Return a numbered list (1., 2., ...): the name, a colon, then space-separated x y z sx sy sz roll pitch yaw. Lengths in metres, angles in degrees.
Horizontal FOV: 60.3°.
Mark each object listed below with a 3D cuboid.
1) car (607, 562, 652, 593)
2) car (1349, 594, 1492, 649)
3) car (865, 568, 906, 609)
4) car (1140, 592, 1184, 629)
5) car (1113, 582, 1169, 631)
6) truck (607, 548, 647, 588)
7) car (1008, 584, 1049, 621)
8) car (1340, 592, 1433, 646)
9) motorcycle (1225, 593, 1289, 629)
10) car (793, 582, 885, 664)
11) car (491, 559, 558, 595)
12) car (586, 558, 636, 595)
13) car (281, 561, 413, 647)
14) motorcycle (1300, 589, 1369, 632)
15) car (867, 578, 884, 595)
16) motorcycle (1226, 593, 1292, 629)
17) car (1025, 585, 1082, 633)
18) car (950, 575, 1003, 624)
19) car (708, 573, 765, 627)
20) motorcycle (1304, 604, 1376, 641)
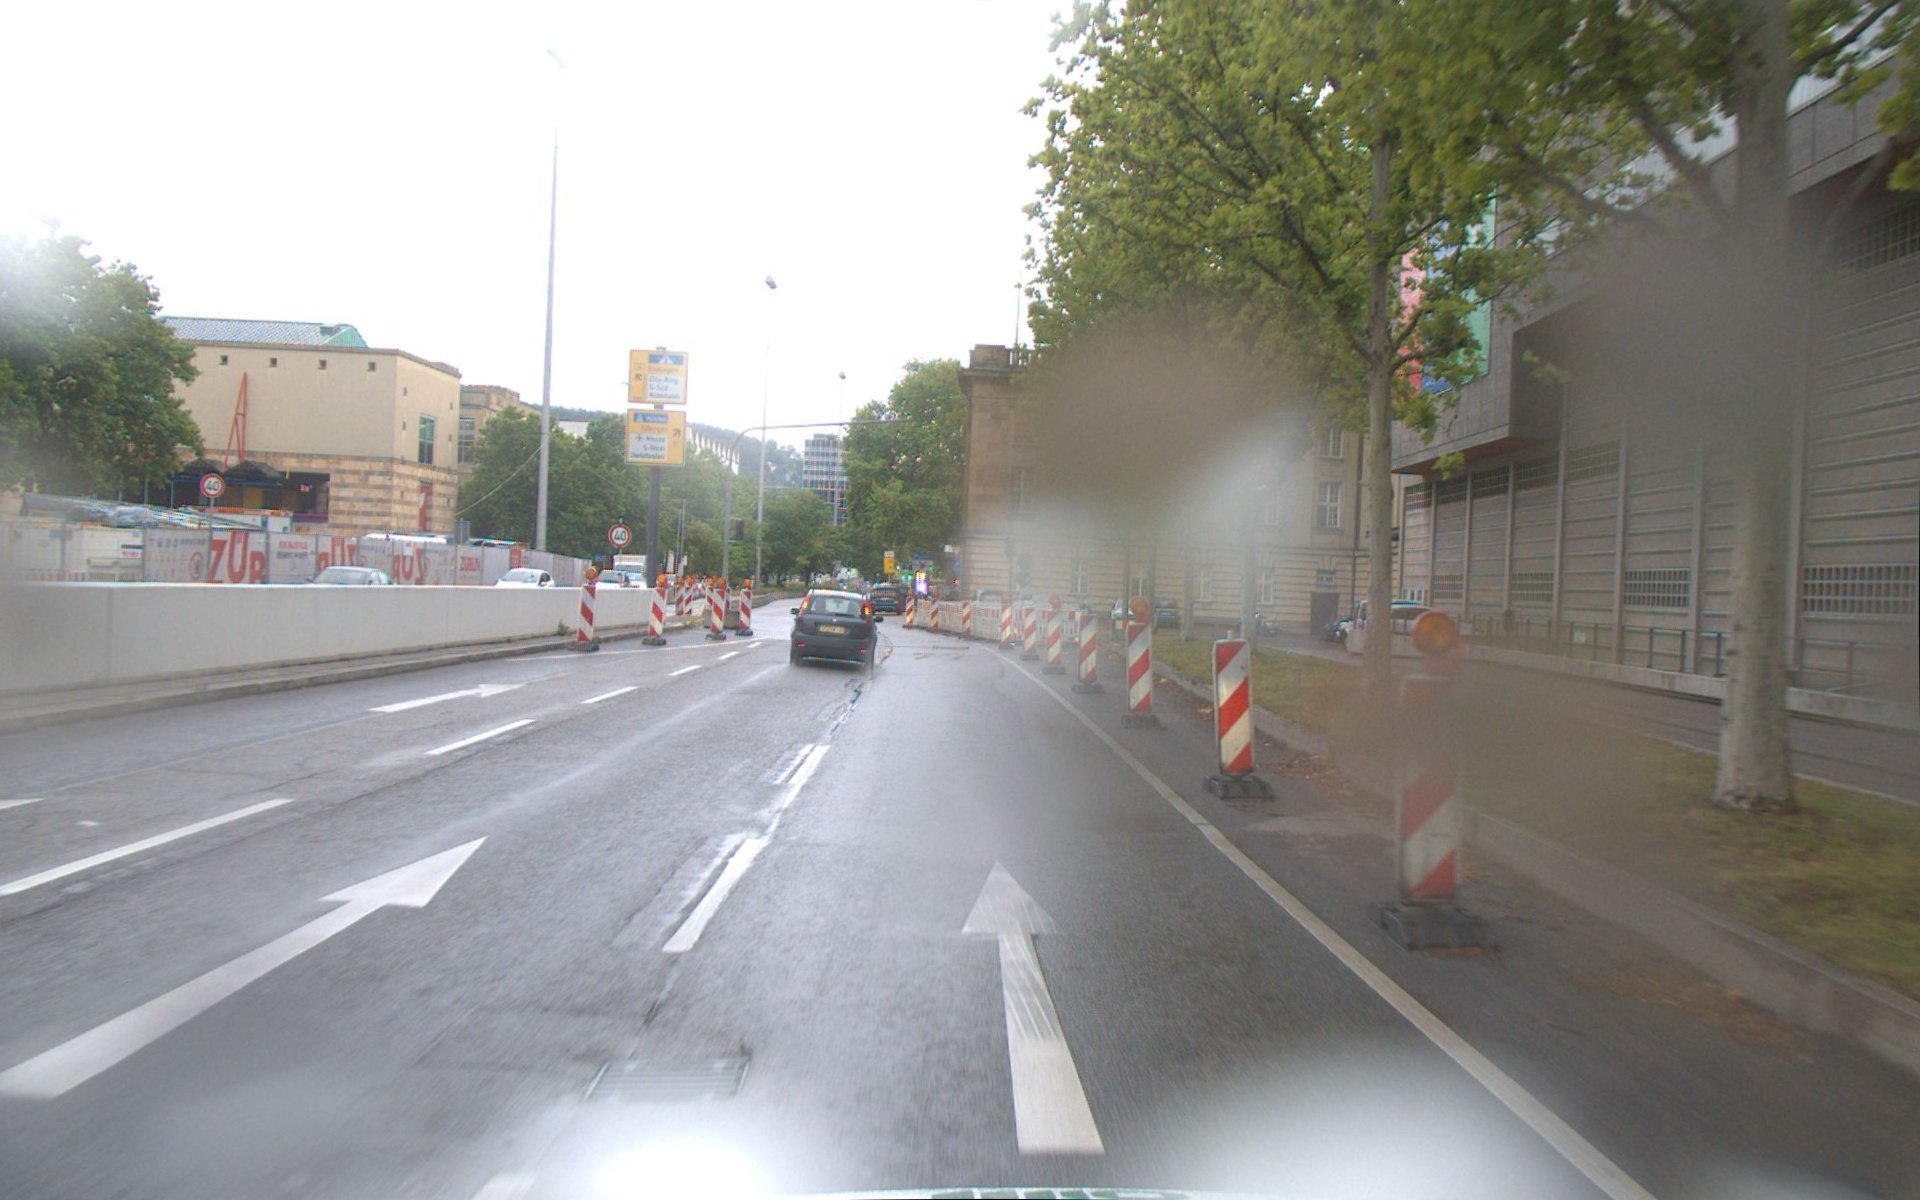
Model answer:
1. car: -18.999 -1.297 95.135 1.955 1.505 3.996 5 -1 -4
2. car: 14.272 0.685 51.385 3.905 1.587 1.933 1 -2 0
3. car: -4.048 -0.644 90.135 1.953 2.048 4.000 4 1 -1
4. car: 10.584 0.561 86.932 1.952 1.738 4.002 4 -1 4
5. car: 7.174 0.232 65.935 1.952 1.738 4.002 4 1 4
6. truck: -22.580 -2.167 112.216 2.370 2.379 5.431 5 -1 -10
7. car: 3.636 0.114 86.819 1.952 1.738 4.002 4 1 4
8. car: 15.232 0.700 59.343 1.953 1.790 5.096 2 -1 0
9. motorcycle: 15.292 0.567 85.274 3.096 1.569 0.890 5 -1 4
10. car: -2.367 0.411 32.525 1.637 1.452 3.755 2 0 -4
11. car: -16.322 -0.863 62.116 1.593 1.216 3.404 4 0 -1
12. car: -16.985 -1.102 80.629 1.635 1.548 3.998 5 -1 -2
13. car: -16.300 0.081 44.174 1.953 2.048 3.999 4 0 -1
14. motorcycle: 19.429 0.568 85.907 3.281 2.049 1.152 3 -1 1
15. car: -10.982 -1.741 214.975 1.955 2.048 3.995 5 -1 -5
16. motorcycle: 15.230 0.582 84.247 3.096 1.569 0.890 5 -1 2
17. car: 3.786 0.345 67.693 1.953 1.738 4.000 4 1 -1
18. car: 0.624 -0.048 66.757 1.953 1.738 4.000 4 1 -1
19. car: -6.188 -0.011 45.986 1.358 1.410 3.064 2 0 -5
20. motorcycle: 19.110 1.147 83.317 3.281 1.558 1.152 5 -1 1
